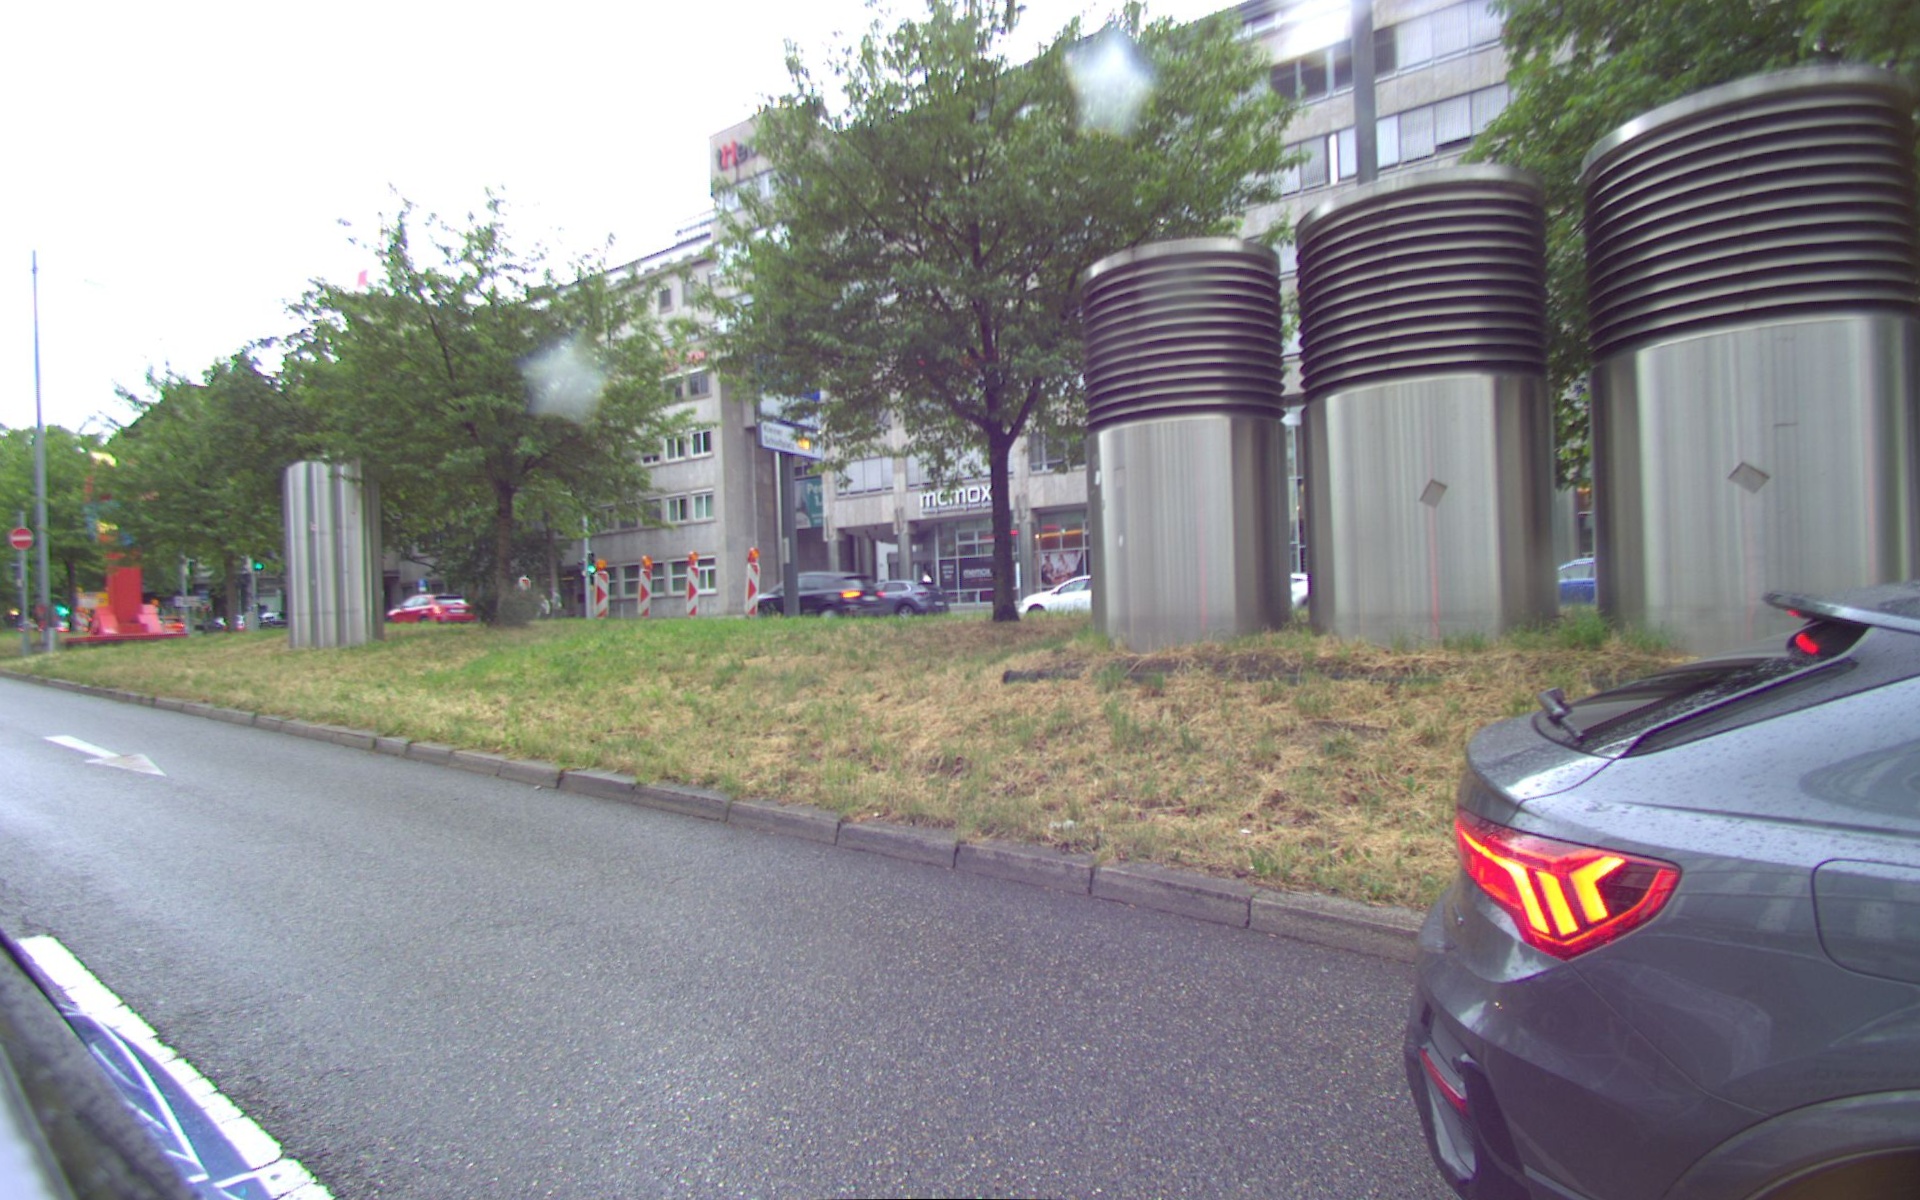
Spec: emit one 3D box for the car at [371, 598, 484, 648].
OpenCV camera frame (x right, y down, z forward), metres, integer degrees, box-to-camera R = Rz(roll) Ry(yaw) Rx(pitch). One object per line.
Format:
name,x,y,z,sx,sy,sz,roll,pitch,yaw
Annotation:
car,-19.620,0.837,37.271,3.987,1.713,1.930,-2,0,33

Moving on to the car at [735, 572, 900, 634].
car,-3.739,0.088,26.355,3.987,1.486,1.853,-2,0,33

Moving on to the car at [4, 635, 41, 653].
car,-78.410,3.696,84.630,3.996,1.425,1.771,-2,-2,40

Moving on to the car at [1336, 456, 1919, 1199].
car,2.824,0.579,0.959,4.246,1.628,1.831,-2,0,38

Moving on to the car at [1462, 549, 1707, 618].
car,13.839,-0.326,22.615,4.465,1.335,1.876,-2,0,34

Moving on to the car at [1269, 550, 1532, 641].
car,8.022,-0.050,18.554,4.180,1.486,1.805,-2,0,33

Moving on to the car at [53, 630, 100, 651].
car,-63.602,2.933,72.831,4.561,1.440,1.843,-2,-1,40

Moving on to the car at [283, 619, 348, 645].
car,-38.582,1.940,60.546,4.559,1.440,1.844,-2,-1,38

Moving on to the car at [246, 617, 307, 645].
car,-42.899,1.943,63.468,4.461,1.634,1.844,-2,-1,38

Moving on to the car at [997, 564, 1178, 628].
car,3.588,-0.087,28.987,4.906,1.634,1.759,-1,2,38

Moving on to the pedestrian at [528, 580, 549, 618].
pedestrian,-19.001,-0.043,45.627,0.619,1.641,0.599,-2,0,41

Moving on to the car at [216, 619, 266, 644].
car,-47.088,2.055,66.218,3.687,1.514,1.670,-2,-1,38

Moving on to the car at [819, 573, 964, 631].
car,-2.344,0.101,33.715,4.785,1.739,1.844,-2,-1,38

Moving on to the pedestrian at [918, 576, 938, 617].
pedestrian,-1.448,-0.152,45.926,0.528,1.801,0.712,-2,0,38

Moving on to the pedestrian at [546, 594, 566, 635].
pedestrian,-18.018,0.663,45.120,0.721,1.801,0.522,-2,0,42

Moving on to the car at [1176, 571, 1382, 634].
car,8.052,0.097,25.789,4.677,1.412,1.759,-2,-1,38

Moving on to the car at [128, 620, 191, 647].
car,-45.772,1.927,57.833,4.125,1.440,1.845,-2,-1,37

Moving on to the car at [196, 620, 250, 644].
car,-50.473,2.213,69.275,4.568,1.498,1.769,-2,-1,38
